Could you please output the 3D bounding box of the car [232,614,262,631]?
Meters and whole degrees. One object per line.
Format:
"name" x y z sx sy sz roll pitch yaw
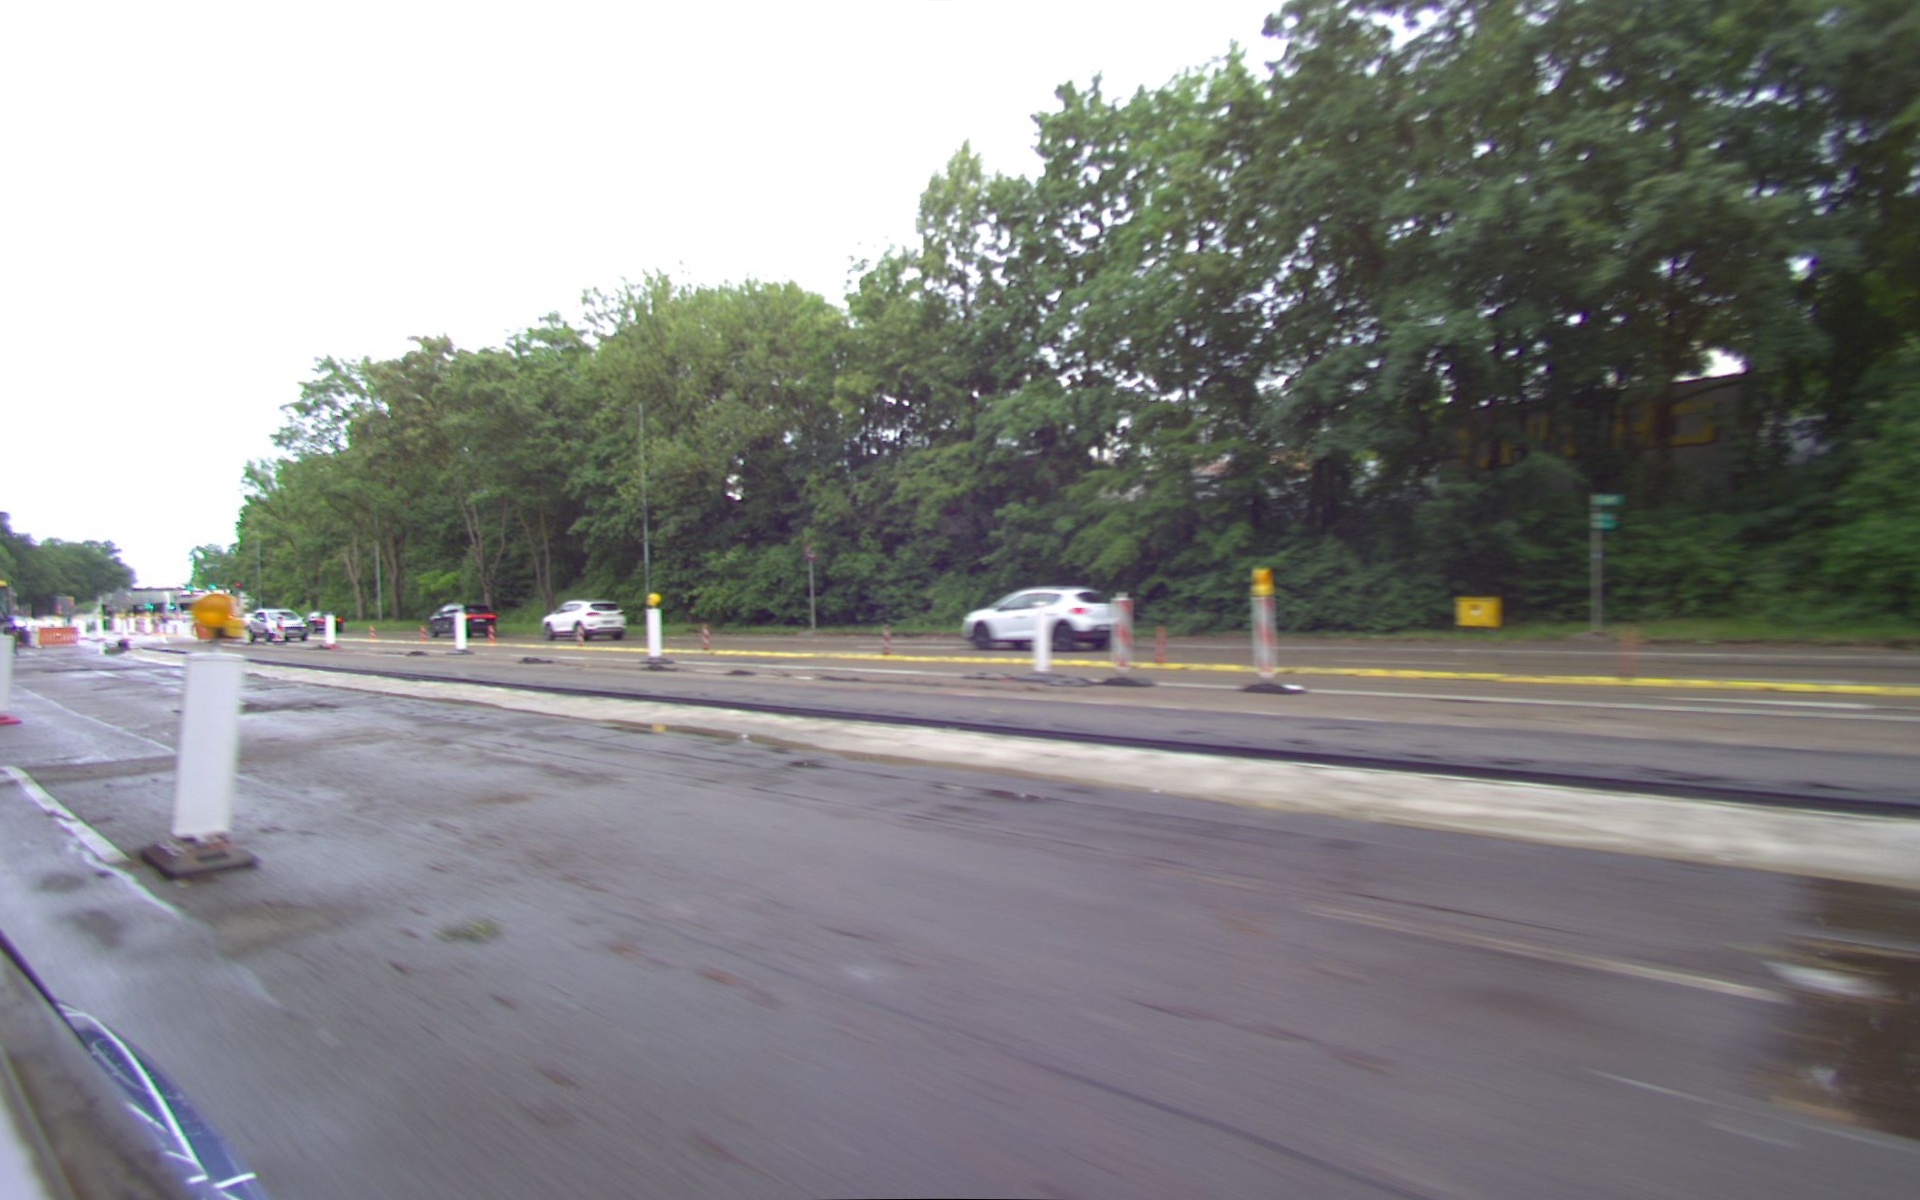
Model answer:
"car" -63.054 1.974 89.460 1.762 1.437 4.476 -1 0 -41

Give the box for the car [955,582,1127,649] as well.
"car" 1.970 0.408 25.434 4.155 1.553 1.649 -1 -2 41

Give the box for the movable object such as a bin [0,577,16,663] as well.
"movable object such as a bin" -35.905 0.758 37.005 5.247 3.008 1.783 -1 0 45

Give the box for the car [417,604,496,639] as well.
"car" -25.248 1.086 50.692 4.911 1.676 1.759 -1 -1 40

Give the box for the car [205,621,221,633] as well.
"car" -99.252 3.538 134.431 1.600 1.495 3.615 0 -1 -38

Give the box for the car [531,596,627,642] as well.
"car" -15.623 0.761 41.446 4.377 1.764 1.759 -1 0 40

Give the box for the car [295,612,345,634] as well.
"car" -44.587 1.601 70.477 4.680 1.463 1.765 -1 0 42

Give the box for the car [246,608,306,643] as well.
"car" -34.110 1.272 50.460 1.769 1.596 3.863 -3 1 -44

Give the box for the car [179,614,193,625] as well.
"car" -121.449 3.041 158.908 1.652 1.626 3.778 0 -1 -36

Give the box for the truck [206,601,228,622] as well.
"truck" -141.274 2.092 192.584 3.101 3.860 9.670 -1 0 -35
